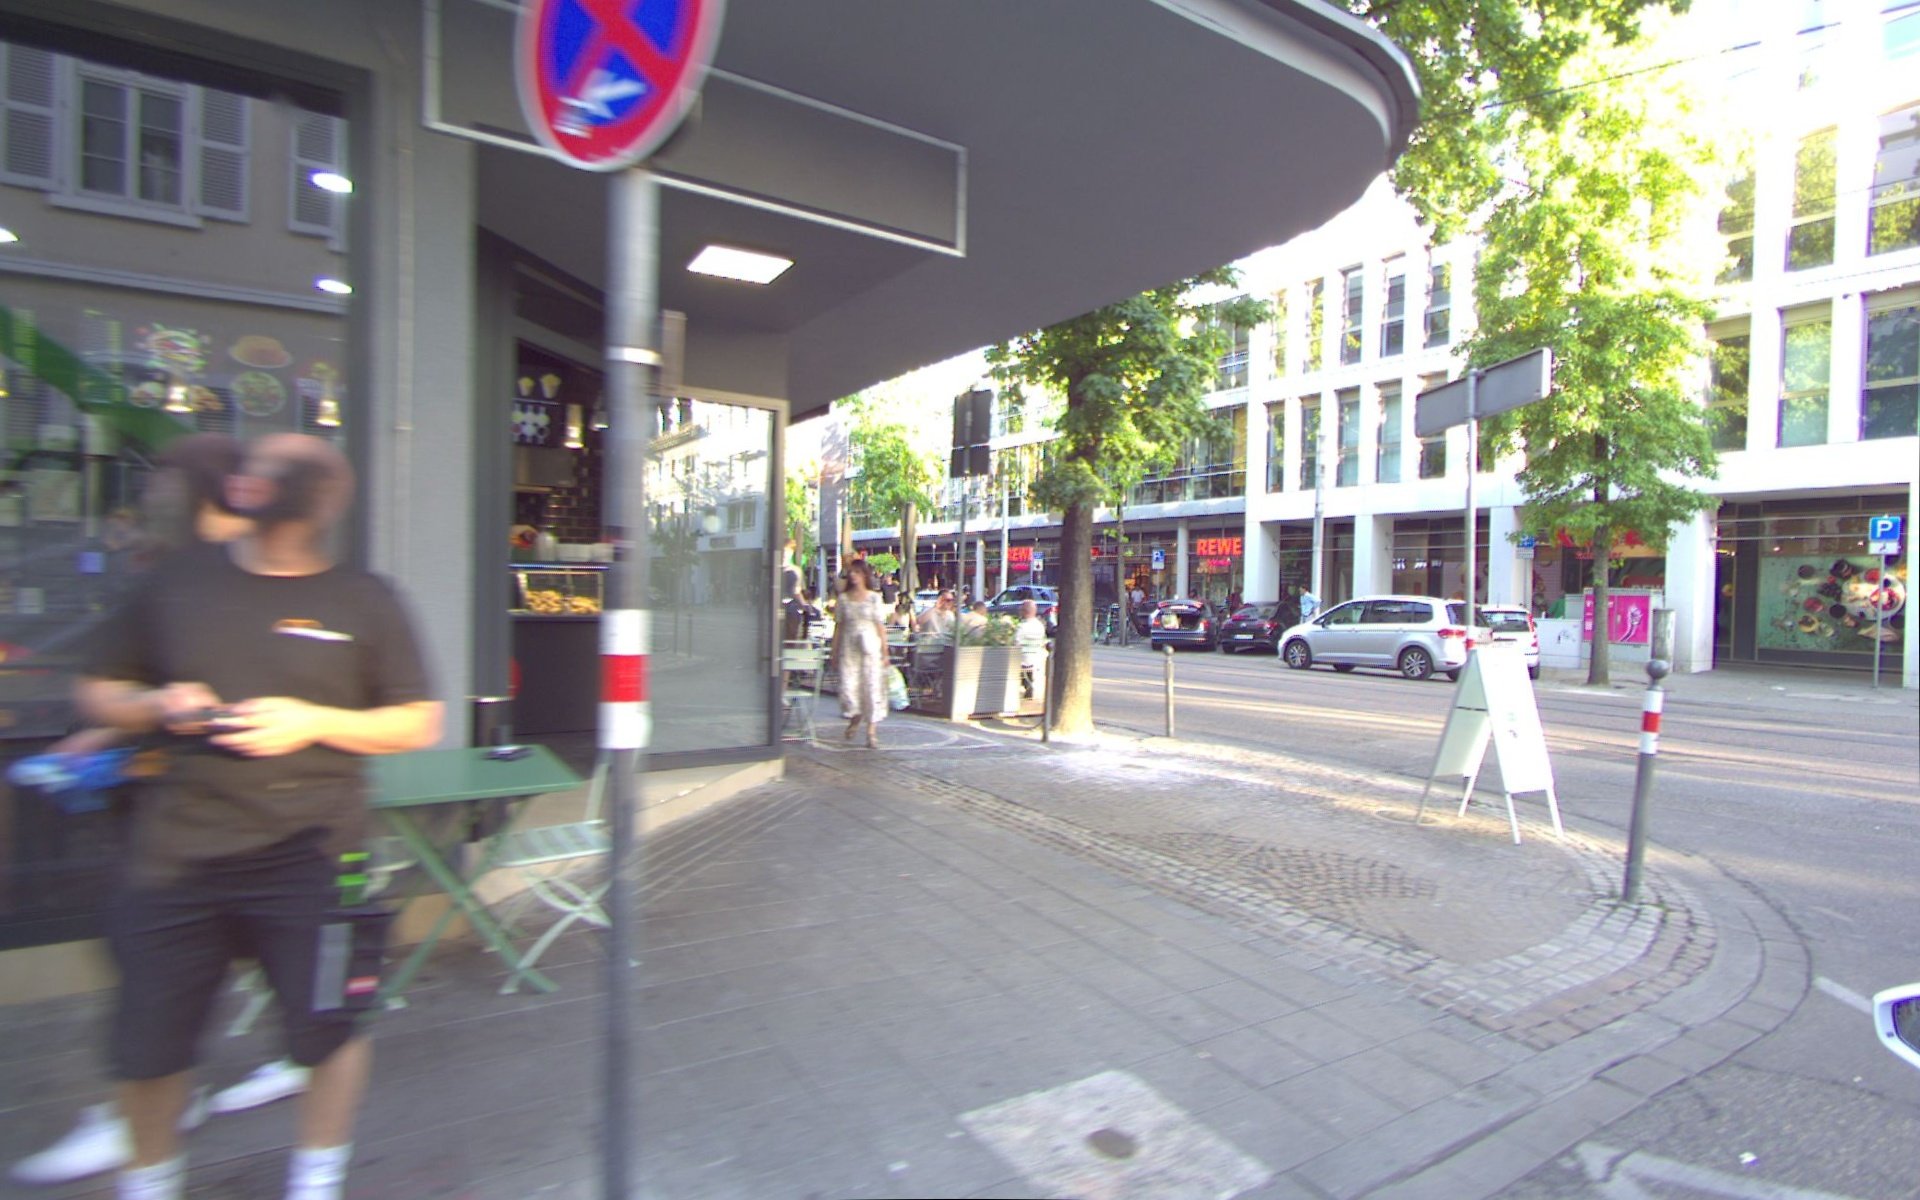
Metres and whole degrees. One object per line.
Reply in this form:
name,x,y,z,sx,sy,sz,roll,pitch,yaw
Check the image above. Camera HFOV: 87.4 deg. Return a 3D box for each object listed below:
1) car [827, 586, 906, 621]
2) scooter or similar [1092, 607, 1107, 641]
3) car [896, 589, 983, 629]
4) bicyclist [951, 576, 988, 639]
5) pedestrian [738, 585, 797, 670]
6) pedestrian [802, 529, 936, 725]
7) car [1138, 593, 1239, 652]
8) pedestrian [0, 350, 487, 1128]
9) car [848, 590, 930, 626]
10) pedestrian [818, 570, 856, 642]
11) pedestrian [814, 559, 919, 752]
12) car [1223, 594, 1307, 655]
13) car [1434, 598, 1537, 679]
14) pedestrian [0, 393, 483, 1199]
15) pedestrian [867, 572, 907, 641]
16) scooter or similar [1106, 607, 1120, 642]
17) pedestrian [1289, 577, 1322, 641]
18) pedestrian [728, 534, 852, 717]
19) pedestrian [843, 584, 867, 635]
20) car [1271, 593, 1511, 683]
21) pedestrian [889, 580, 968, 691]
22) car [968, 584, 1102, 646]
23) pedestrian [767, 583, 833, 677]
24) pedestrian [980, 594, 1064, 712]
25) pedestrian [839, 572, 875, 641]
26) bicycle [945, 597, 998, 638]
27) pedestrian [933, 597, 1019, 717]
car,-4.559,0.168,49.470,1.916,1.526,3.989,-1,1,30
scooter or similar,4.699,0.808,33.873,0.382,1.085,1.807,1,1,11
car,-0.822,0.353,43.014,1.916,1.526,3.989,-1,1,30
bicyclist,0.283,0.230,30.707,0.648,1.880,0.981,1,1,-35
pedestrian,-3.270,0.448,17.071,0.724,1.377,0.706,0,3,-37
pedestrian,-0.971,0.271,10.641,1.020,1.927,1.058,0,0,-36
car,6.971,0.628,30.381,1.916,1.526,3.989,0,2,30
pedestrian,-1.841,0.307,2.619,0.886,1.690,0.797,2,2,-10
car,-3.270,0.350,46.940,1.916,1.526,3.989,-1,1,30
pedestrian,-3.377,0.173,27.531,0.704,1.927,1.062,0,0,-26
pedestrian,-0.815,0.462,8.725,0.744,1.593,0.598,0,0,-27
car,8.840,0.649,28.964,1.562,1.526,3.584,1,2,30
car,11.976,0.782,22.777,1.916,1.526,3.989,0,2,30
pedestrian,-1.366,0.509,1.988,0.677,1.690,0.504,1,2,-19
pedestrian,-2.105,0.191,29.036,0.816,1.927,1.062,0,0,-26
scooter or similar,5.136,0.807,33.619,0.382,1.085,1.807,1,1,11
pedestrian,9.050,0.233,26.307,0.631,1.649,0.640,2,1,36
pedestrian,-1.921,0.271,11.309,1.020,1.927,1.058,0,0,-36
pedestrian,-4.243,0.384,40.559,0.642,2.040,0.787,0,1,-35
car,8.771,0.723,20.794,1.810,1.614,4.243,3,-1,-34
pedestrian,-0.411,0.441,13.092,0.724,1.377,0.706,0,3,-37
car,2.256,0.435,31.378,1.851,1.760,4.241,3,-1,-35
pedestrian,-2.458,0.442,15.409,0.724,1.377,0.706,0,3,-37
pedestrian,0.766,0.635,12.516,0.724,1.377,0.706,0,3,-37
pedestrian,-2.951,0.184,28.773,0.704,1.927,1.062,0,0,-26
bicycle,0.340,0.514,30.644,0.507,1.166,2.035,0,1,-36
pedestrian,0.186,0.654,12.048,0.707,1.346,0.723,0,3,-36
